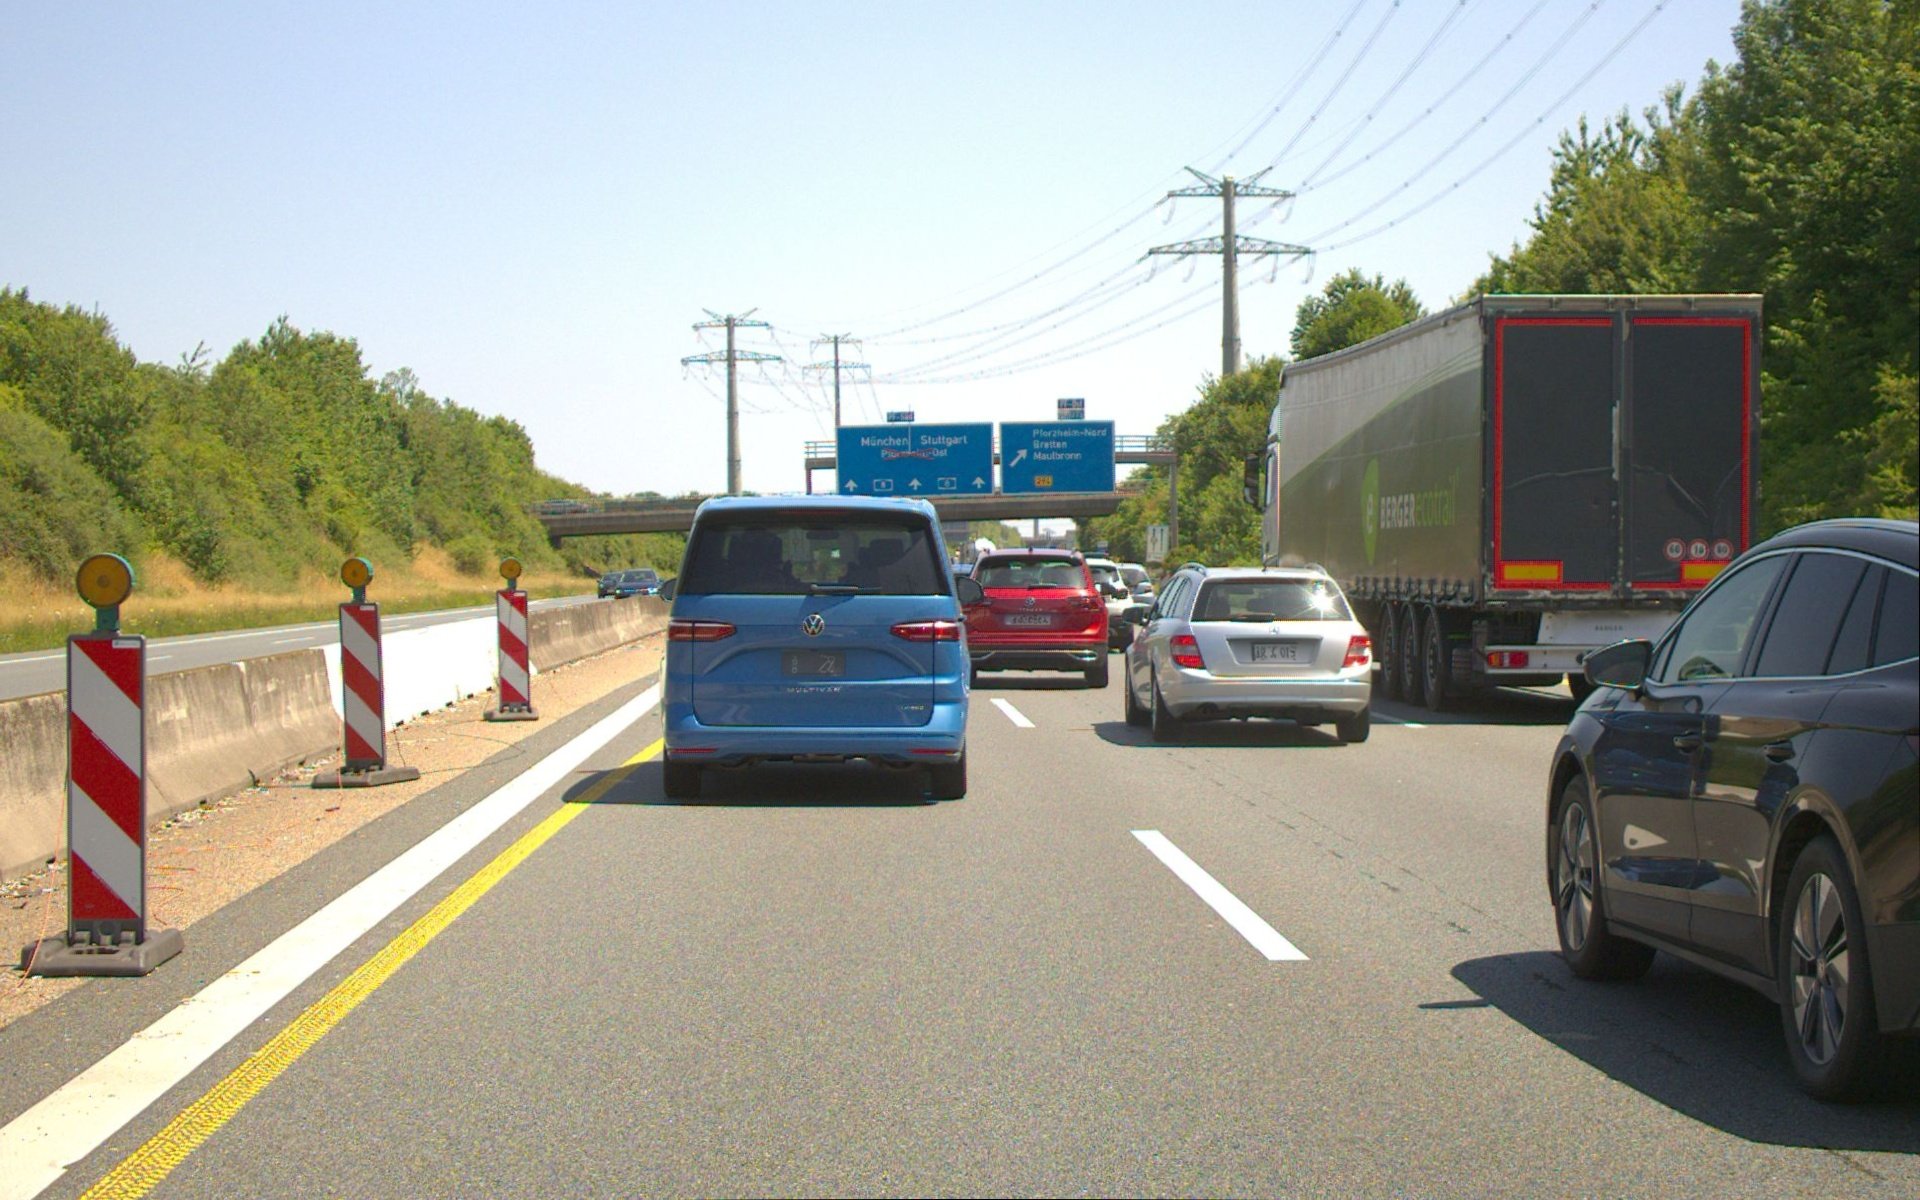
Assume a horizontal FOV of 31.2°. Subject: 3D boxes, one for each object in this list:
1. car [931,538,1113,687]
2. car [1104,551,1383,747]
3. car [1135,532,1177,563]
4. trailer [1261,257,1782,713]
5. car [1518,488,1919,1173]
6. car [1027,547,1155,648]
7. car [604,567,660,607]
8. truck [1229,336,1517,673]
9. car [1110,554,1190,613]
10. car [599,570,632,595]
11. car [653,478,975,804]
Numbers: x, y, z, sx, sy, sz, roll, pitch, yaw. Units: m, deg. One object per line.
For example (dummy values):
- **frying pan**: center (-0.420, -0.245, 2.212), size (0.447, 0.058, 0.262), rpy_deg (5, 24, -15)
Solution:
- **car**: center (0.689, 0.125, 41.288), size (1.874, 1.665, 4.360), rpy_deg (1, 0, -3)
- **car**: center (2.319, 0.365, 29.149), size (1.770, 1.512, 4.360), rpy_deg (1, 0, -3)
- **car**: center (10.961, -2.935, 192.654), size (1.874, 1.665, 4.360), rpy_deg (1, 0, -3)
- **trailer**: center (5.605, -1.087, 37.315), size (2.783, 4.033, 13.113), rpy_deg (1, 0, -3)
- **car**: center (3.042, 0.549, 10.524), size (1.700, 1.649, 4.430), rpy_deg (1, 0, -3)
- **car**: center (2.147, -0.054, 57.210), size (1.797, 1.588, 4.227), rpy_deg (1, 0, -2)
- **car**: center (-12.827, -0.515, 134.578), size (1.862, 1.485, 4.493), rpy_deg (-1, 1, -1)
- **truck**: center (5.231, -1.179, 44.532), size (2.733, 4.033, 5.794), rpy_deg (1, 0, -2)
- **car**: center (4.856, -0.429, 88.162), size (1.700, 1.443, 3.788), rpy_deg (1, 0, -2)
- **car**: center (-20.459, -1.051, 204.317), size (1.708, 1.459, 3.850), rpy_deg (-2, 1, -3)
- **car**: center (-0.971, 0.225, 22.556), size (1.874, 1.905, 4.360), rpy_deg (1, 0, -3)
